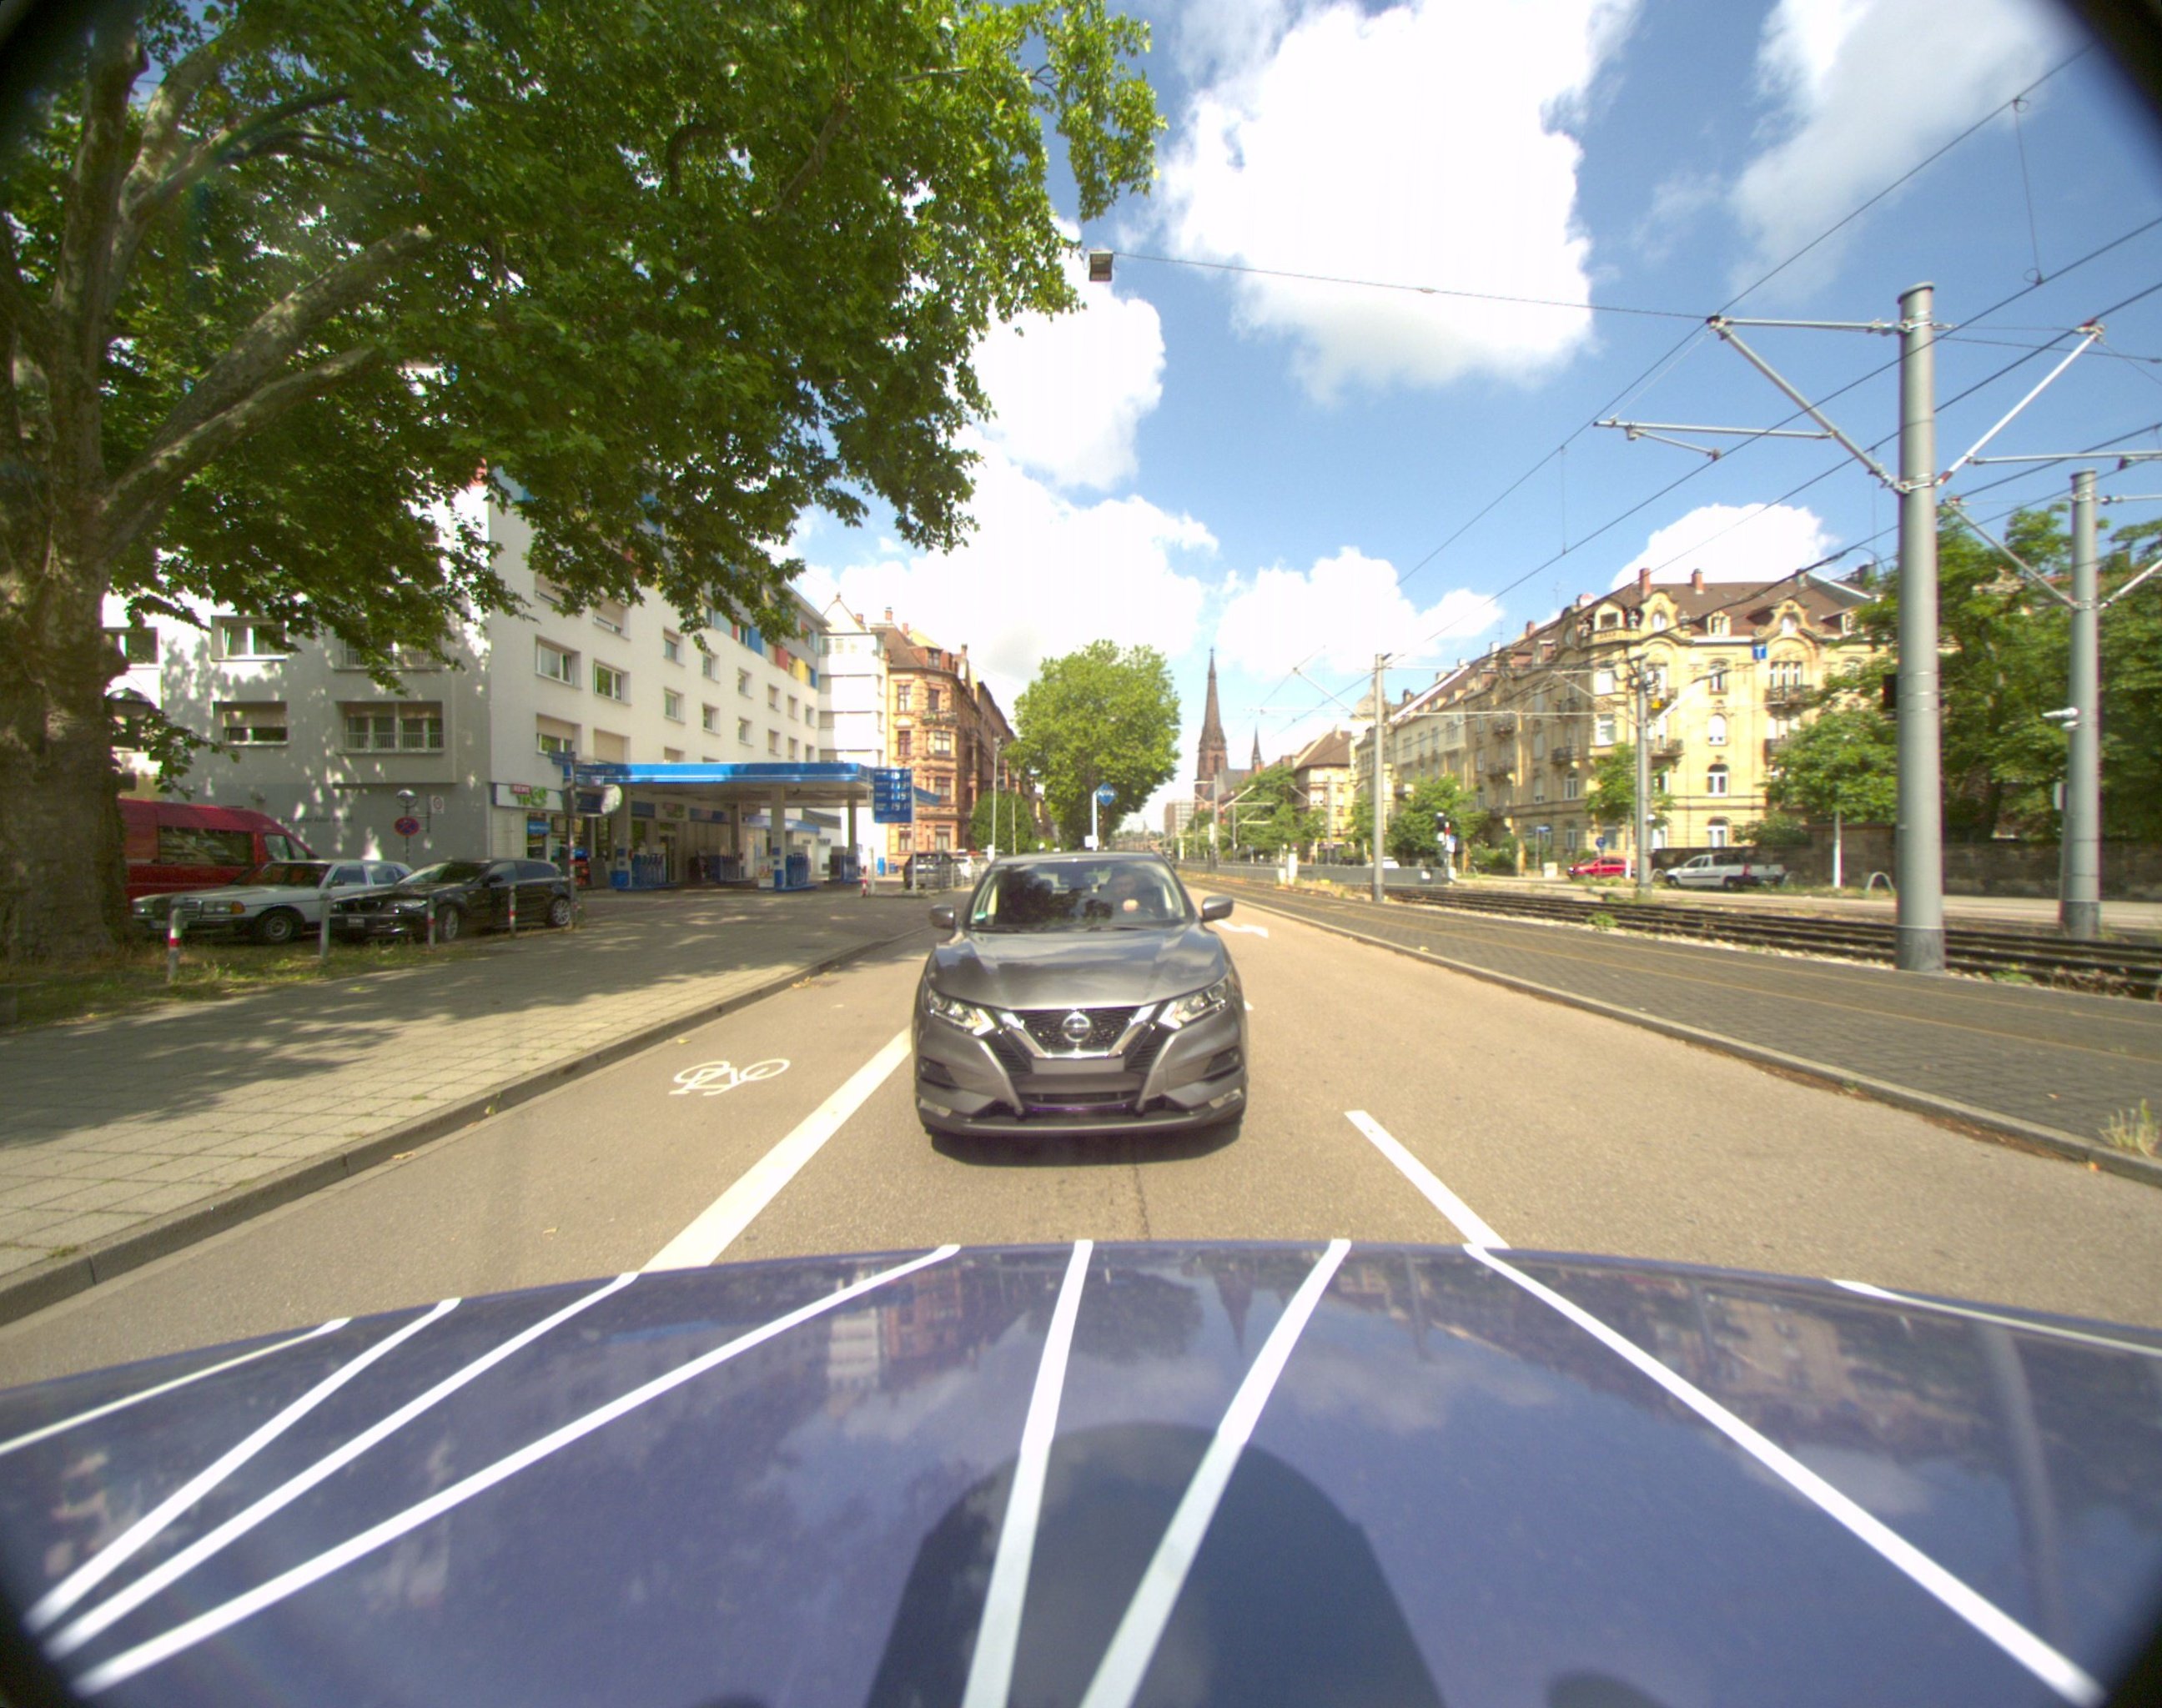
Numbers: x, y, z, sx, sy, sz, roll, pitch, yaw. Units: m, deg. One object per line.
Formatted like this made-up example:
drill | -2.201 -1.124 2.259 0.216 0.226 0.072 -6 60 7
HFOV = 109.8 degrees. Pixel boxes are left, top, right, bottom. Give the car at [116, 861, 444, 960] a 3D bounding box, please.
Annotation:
car | -13.814 0.875 13.524 1.653 1.461 4.042 0 0 -3

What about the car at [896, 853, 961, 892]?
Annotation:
car | -6.654 0.762 33.630 1.810 1.593 4.583 -1 0 2

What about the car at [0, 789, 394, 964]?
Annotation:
car | -16.724 0.335 14.203 2.116 2.567 6.020 0 0 2

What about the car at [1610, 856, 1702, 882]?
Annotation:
car | 33.125 0.856 43.822 3.972 1.455 1.723 0 0 1

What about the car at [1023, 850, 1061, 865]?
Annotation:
car | -5.094 0.489 98.319 4.735 1.772 2.004 -2 1 -7

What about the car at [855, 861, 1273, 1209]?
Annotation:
car | -0.035 0.808 5.571 1.800 1.454 4.567 0 0 1

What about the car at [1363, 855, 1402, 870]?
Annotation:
car | 27.106 0.751 68.480 1.756 1.320 4.312 0 0 -1

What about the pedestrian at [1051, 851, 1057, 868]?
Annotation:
pedestrian | -2.759 0.568 78.359 0.565 1.776 0.630 0 1 0

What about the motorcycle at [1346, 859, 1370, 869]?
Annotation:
motorcycle | 27.118 0.947 74.463 1.765 0.936 1.417 1 0 -1

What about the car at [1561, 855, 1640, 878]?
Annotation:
car | 33.818 0.791 49.543 3.788 1.455 1.933 0 0 4

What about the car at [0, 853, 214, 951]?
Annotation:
car | -19.156 0.839 13.509 2.011 1.641 4.653 -2 0 2

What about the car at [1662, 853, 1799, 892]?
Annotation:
car | 26.909 0.733 31.713 1.936 1.495 4.413 0 0 -1

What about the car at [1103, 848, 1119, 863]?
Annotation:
car | 3.210 0.193 81.566 1.557 1.476 3.858 2 0 0

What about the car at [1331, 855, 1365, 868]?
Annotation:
car | 27.116 0.738 77.308 2.025 1.319 4.100 0 0 -2

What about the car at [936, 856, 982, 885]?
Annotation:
car | -6.455 0.842 40.608 1.810 1.447 4.001 -1 0 0

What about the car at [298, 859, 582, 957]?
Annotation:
car | -11.087 0.837 13.591 1.653 1.461 4.042 0 0 0
